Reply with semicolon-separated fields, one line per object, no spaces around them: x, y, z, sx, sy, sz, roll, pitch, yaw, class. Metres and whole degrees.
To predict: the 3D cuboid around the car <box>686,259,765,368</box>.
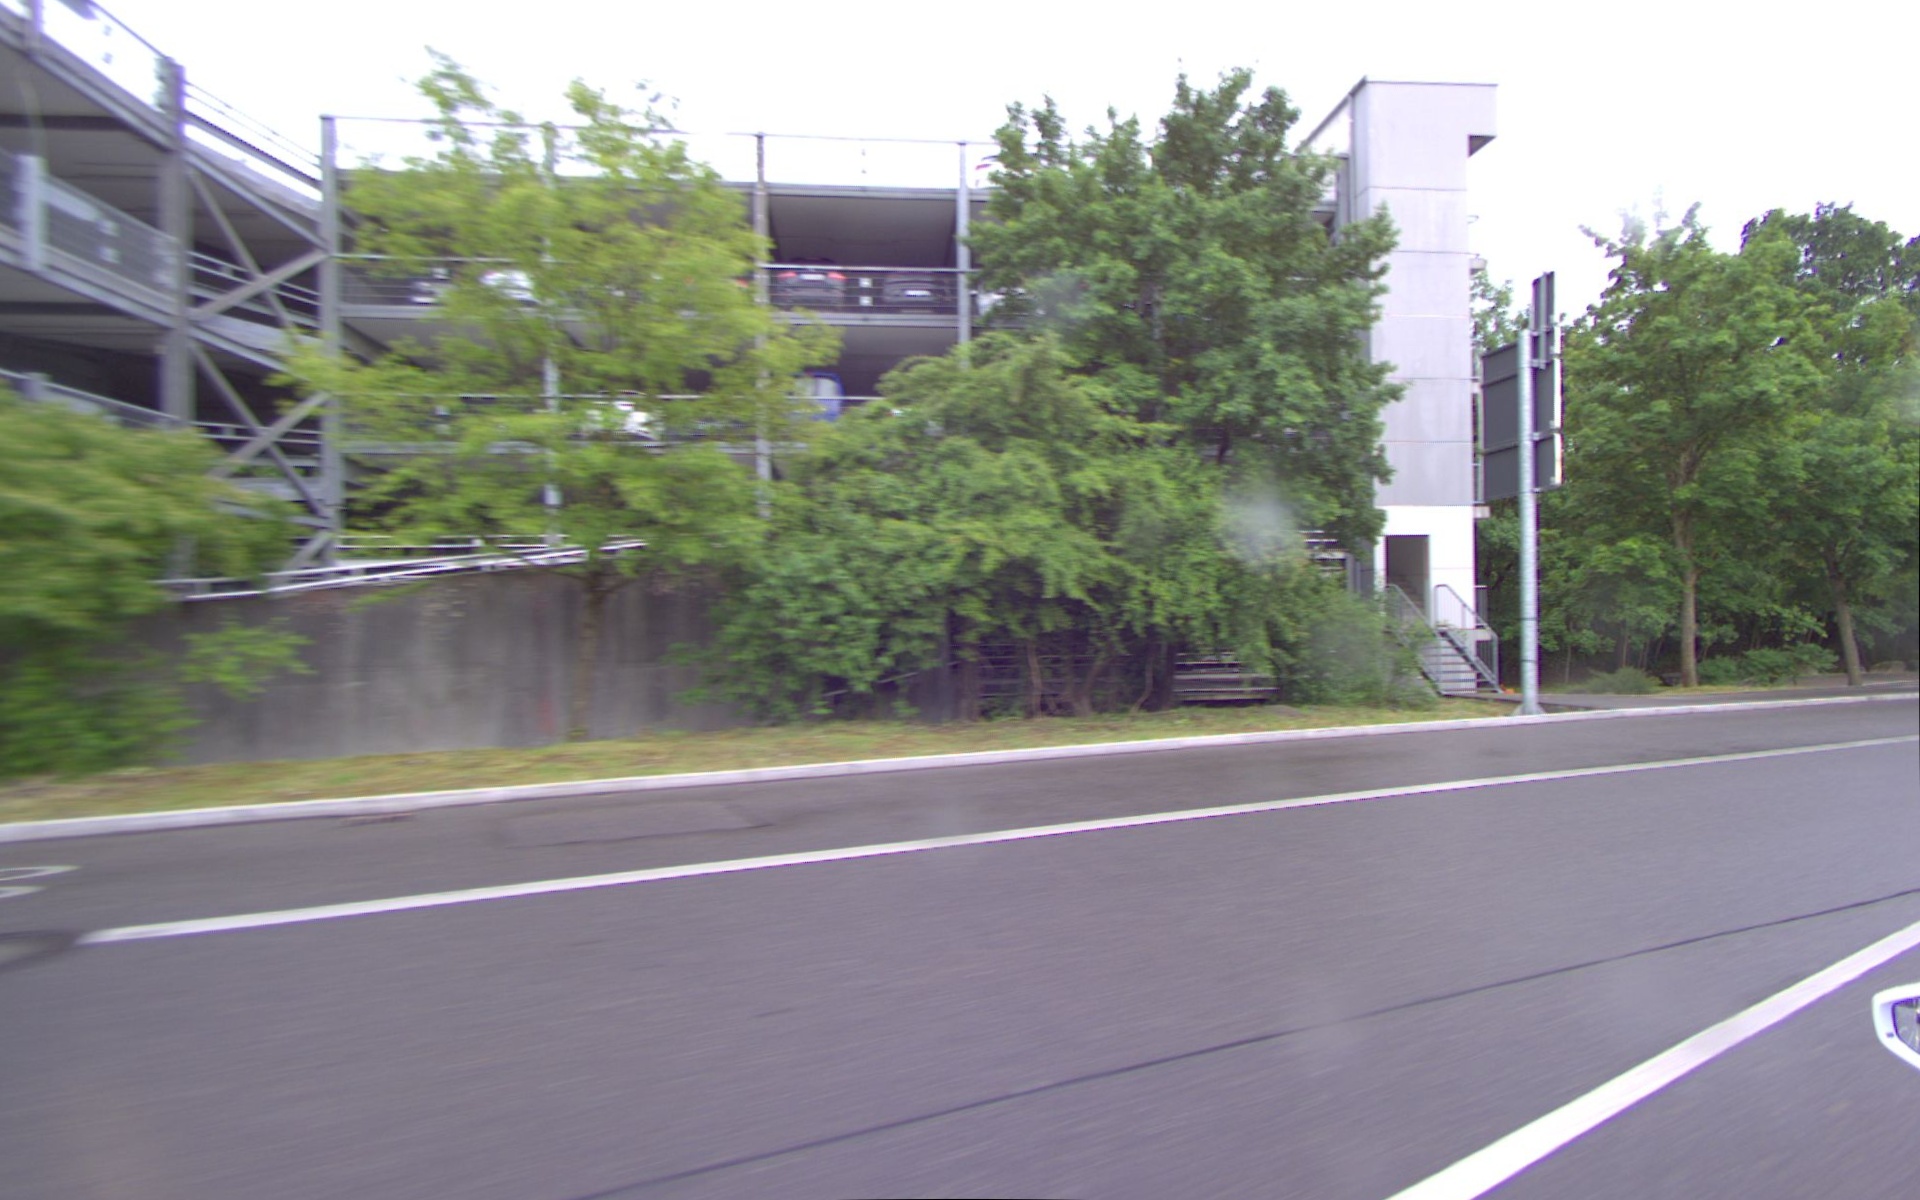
-5.655;-6.903;24.521;1.557;1.539;3.241;0;-3;-8;car

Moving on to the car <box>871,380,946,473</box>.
-1.313;-4.161;24.608;1.557;1.539;3.241;0;-3;-8;car

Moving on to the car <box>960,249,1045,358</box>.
0.991;-7.234;24.832;1.557;1.539;3.241;0;-3;-8;car

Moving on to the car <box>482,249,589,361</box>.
-10.097;-6.990;24.132;1.557;1.539;3.241;0;-3;-8;car

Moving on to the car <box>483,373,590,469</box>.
-10.055;-4.203;24.052;1.557;1.539;3.241;0;-3;-8;car

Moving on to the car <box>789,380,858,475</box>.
-3.295;-4.091;24.279;1.557;1.539;3.241;0;-3;-8;car

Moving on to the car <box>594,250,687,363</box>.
-7.524;-6.891;23.920;1.557;1.539;3.241;0;-3;-8;car

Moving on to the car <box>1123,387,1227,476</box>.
5.371;-4.196;25.486;1.557;1.539;3.241;0;-3;-8;car

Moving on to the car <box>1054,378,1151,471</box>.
3.457;-4.273;24.896;1.557;1.539;3.241;0;-3;-8;car

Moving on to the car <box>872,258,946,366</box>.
-1.313;-6.991;24.693;1.557;1.539;3.241;0;-3;-8;car

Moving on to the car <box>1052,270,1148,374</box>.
3.434;-6.897;25.229;1.557;1.539;3.241;0;-3;-8;car

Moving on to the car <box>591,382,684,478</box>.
-7.580;-3.965;23.892;1.557;1.539;3.241;0;-3;-8;car

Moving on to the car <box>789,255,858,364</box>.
-3.333;-6.993;24.485;1.557;1.539;3.241;0;-3;-8;car

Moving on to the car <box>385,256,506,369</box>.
-12.109;-6.731;23.848;1.557;1.539;3.241;0;-3;-8;car

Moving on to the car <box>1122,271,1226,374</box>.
5.376;-6.978;25.602;1.557;1.539;3.241;0;-3;-8;car

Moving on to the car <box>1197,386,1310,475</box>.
7.382;-4.221;25.518;1.557;1.539;3.241;0;-3;-8;car
